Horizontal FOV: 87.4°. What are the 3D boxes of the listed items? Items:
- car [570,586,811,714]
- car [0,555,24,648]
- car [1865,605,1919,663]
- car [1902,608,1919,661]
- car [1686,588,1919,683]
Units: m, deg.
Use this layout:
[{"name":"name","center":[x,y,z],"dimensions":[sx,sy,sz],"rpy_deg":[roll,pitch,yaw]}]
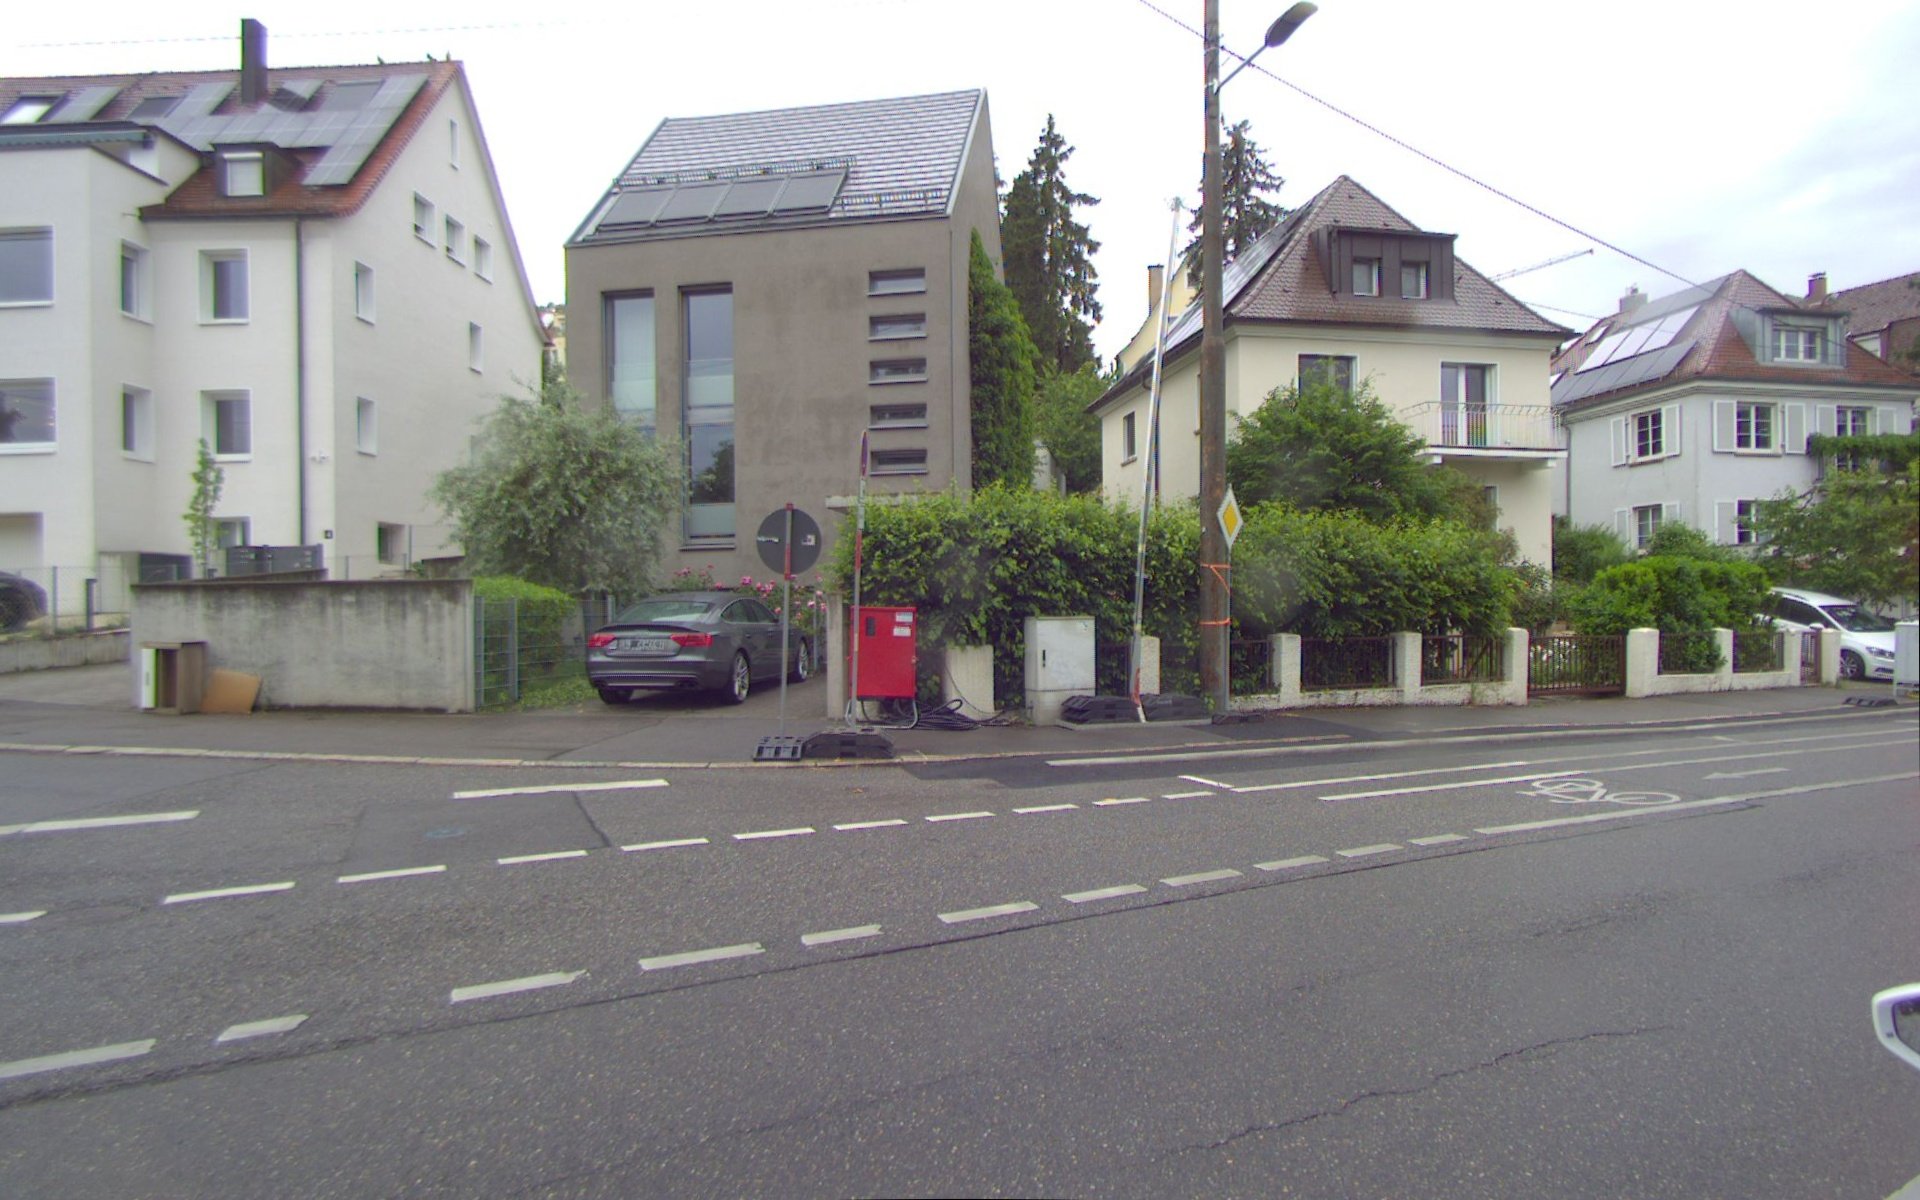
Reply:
[{"name":"car","center":[-3.437,0.575,13.638],"dimensions":[1.802,1.463,4.002],"rpy_deg":[0,0,7]},{"name":"car","center":[-16.783,0.008,15.122],"dimensions":[1.700,1.528,3.820],"rpy_deg":[1,0,3]},{"name":"car","center":[26.648,0.979,26.339],"dimensions":[1.733,1.505,3.983],"rpy_deg":[3,0,-19]},{"name":"car","center":[28.565,1.049,27.257],"dimensions":[1.733,1.505,3.983],"rpy_deg":[3,0,-19]},{"name":"car","center":[19.733,0.774,23.649],"dimensions":[1.801,2.040,3.984],"rpy_deg":[1,0,-18]}]
